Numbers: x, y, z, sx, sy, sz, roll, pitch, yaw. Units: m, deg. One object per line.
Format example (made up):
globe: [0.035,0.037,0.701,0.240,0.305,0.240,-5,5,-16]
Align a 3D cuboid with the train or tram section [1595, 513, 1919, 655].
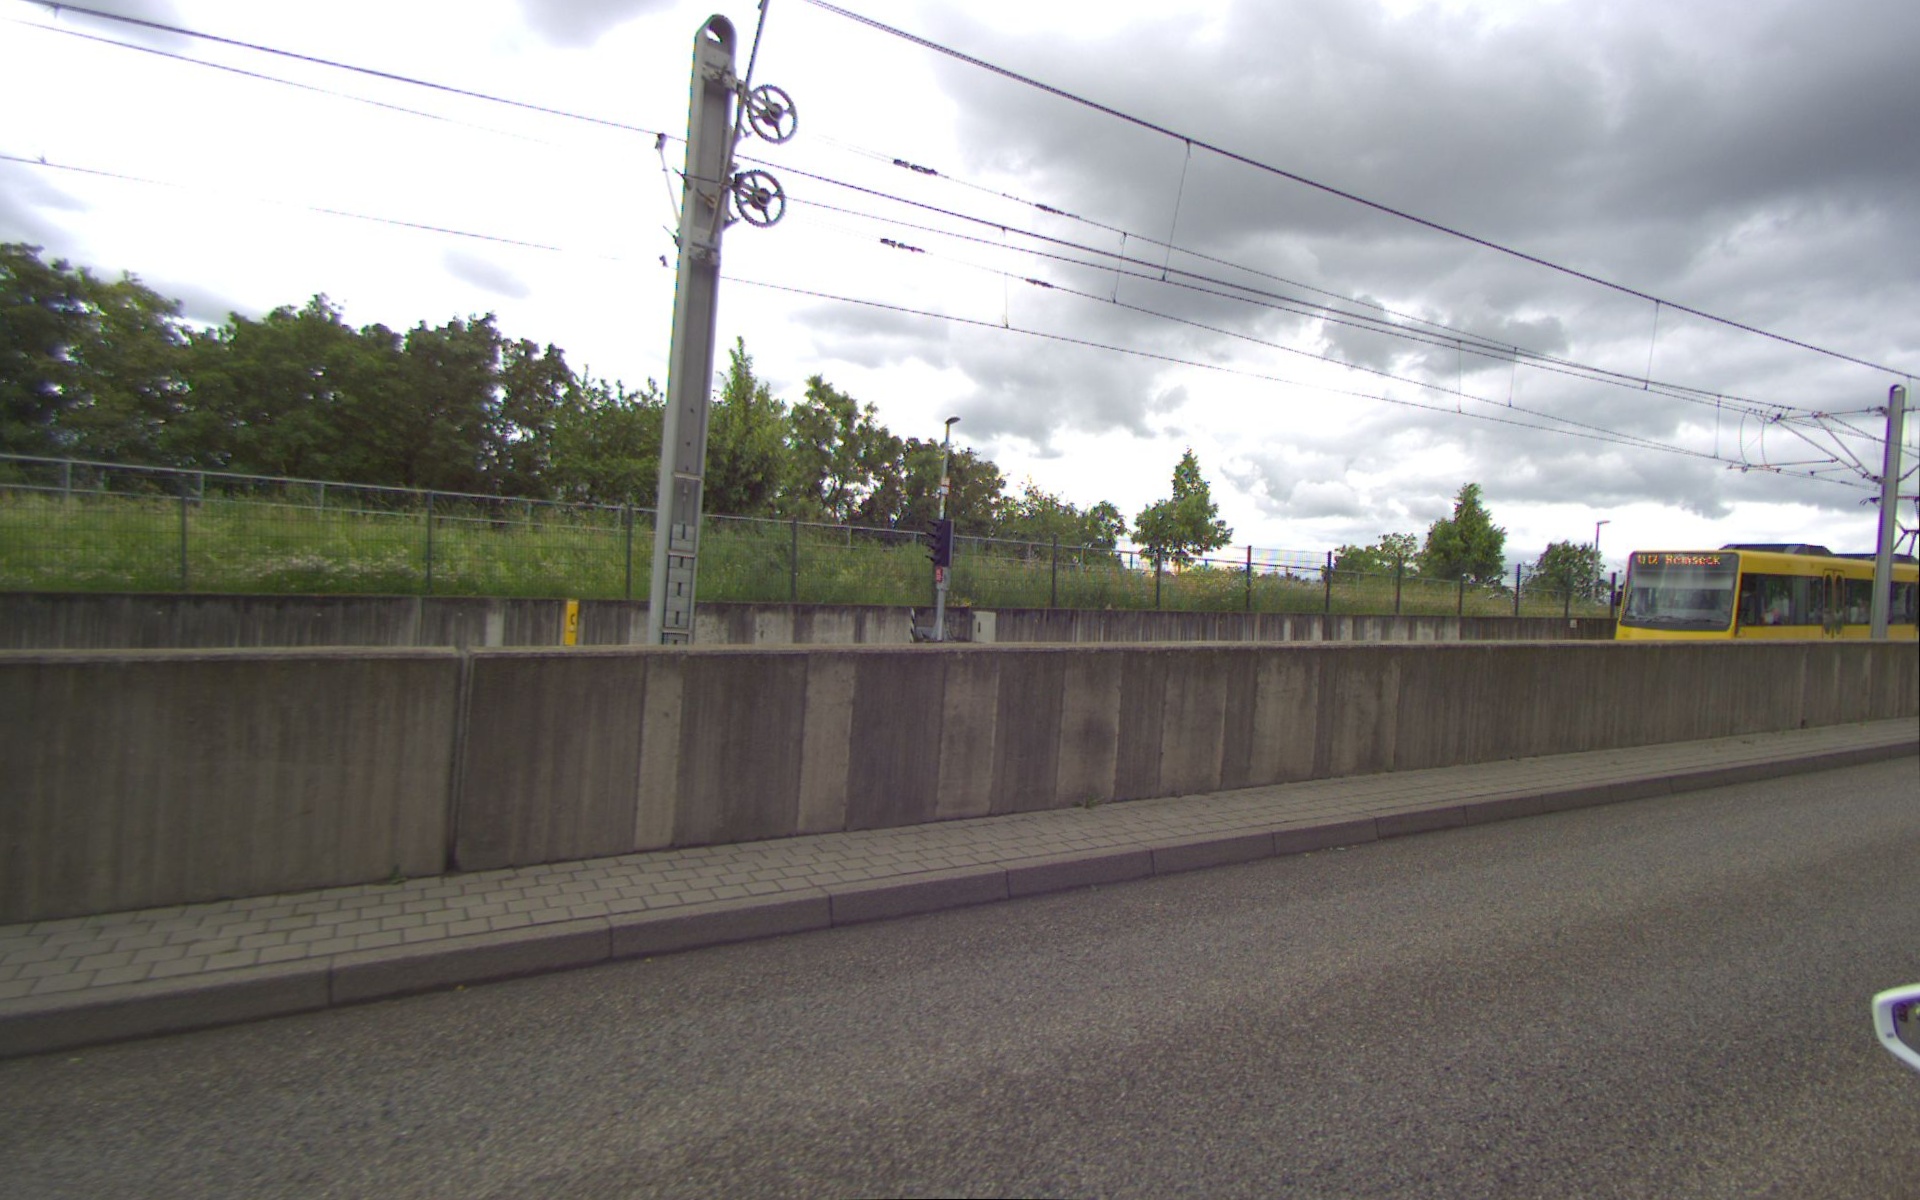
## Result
train or tram section: [24.205,-0.094,28.589,18.711,3.158,2.795,2,-1,-33]

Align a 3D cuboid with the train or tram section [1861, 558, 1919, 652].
train or tram section: [39.546,0.426,38.959,18.913,3.117,2.785,2,-1,-35]
